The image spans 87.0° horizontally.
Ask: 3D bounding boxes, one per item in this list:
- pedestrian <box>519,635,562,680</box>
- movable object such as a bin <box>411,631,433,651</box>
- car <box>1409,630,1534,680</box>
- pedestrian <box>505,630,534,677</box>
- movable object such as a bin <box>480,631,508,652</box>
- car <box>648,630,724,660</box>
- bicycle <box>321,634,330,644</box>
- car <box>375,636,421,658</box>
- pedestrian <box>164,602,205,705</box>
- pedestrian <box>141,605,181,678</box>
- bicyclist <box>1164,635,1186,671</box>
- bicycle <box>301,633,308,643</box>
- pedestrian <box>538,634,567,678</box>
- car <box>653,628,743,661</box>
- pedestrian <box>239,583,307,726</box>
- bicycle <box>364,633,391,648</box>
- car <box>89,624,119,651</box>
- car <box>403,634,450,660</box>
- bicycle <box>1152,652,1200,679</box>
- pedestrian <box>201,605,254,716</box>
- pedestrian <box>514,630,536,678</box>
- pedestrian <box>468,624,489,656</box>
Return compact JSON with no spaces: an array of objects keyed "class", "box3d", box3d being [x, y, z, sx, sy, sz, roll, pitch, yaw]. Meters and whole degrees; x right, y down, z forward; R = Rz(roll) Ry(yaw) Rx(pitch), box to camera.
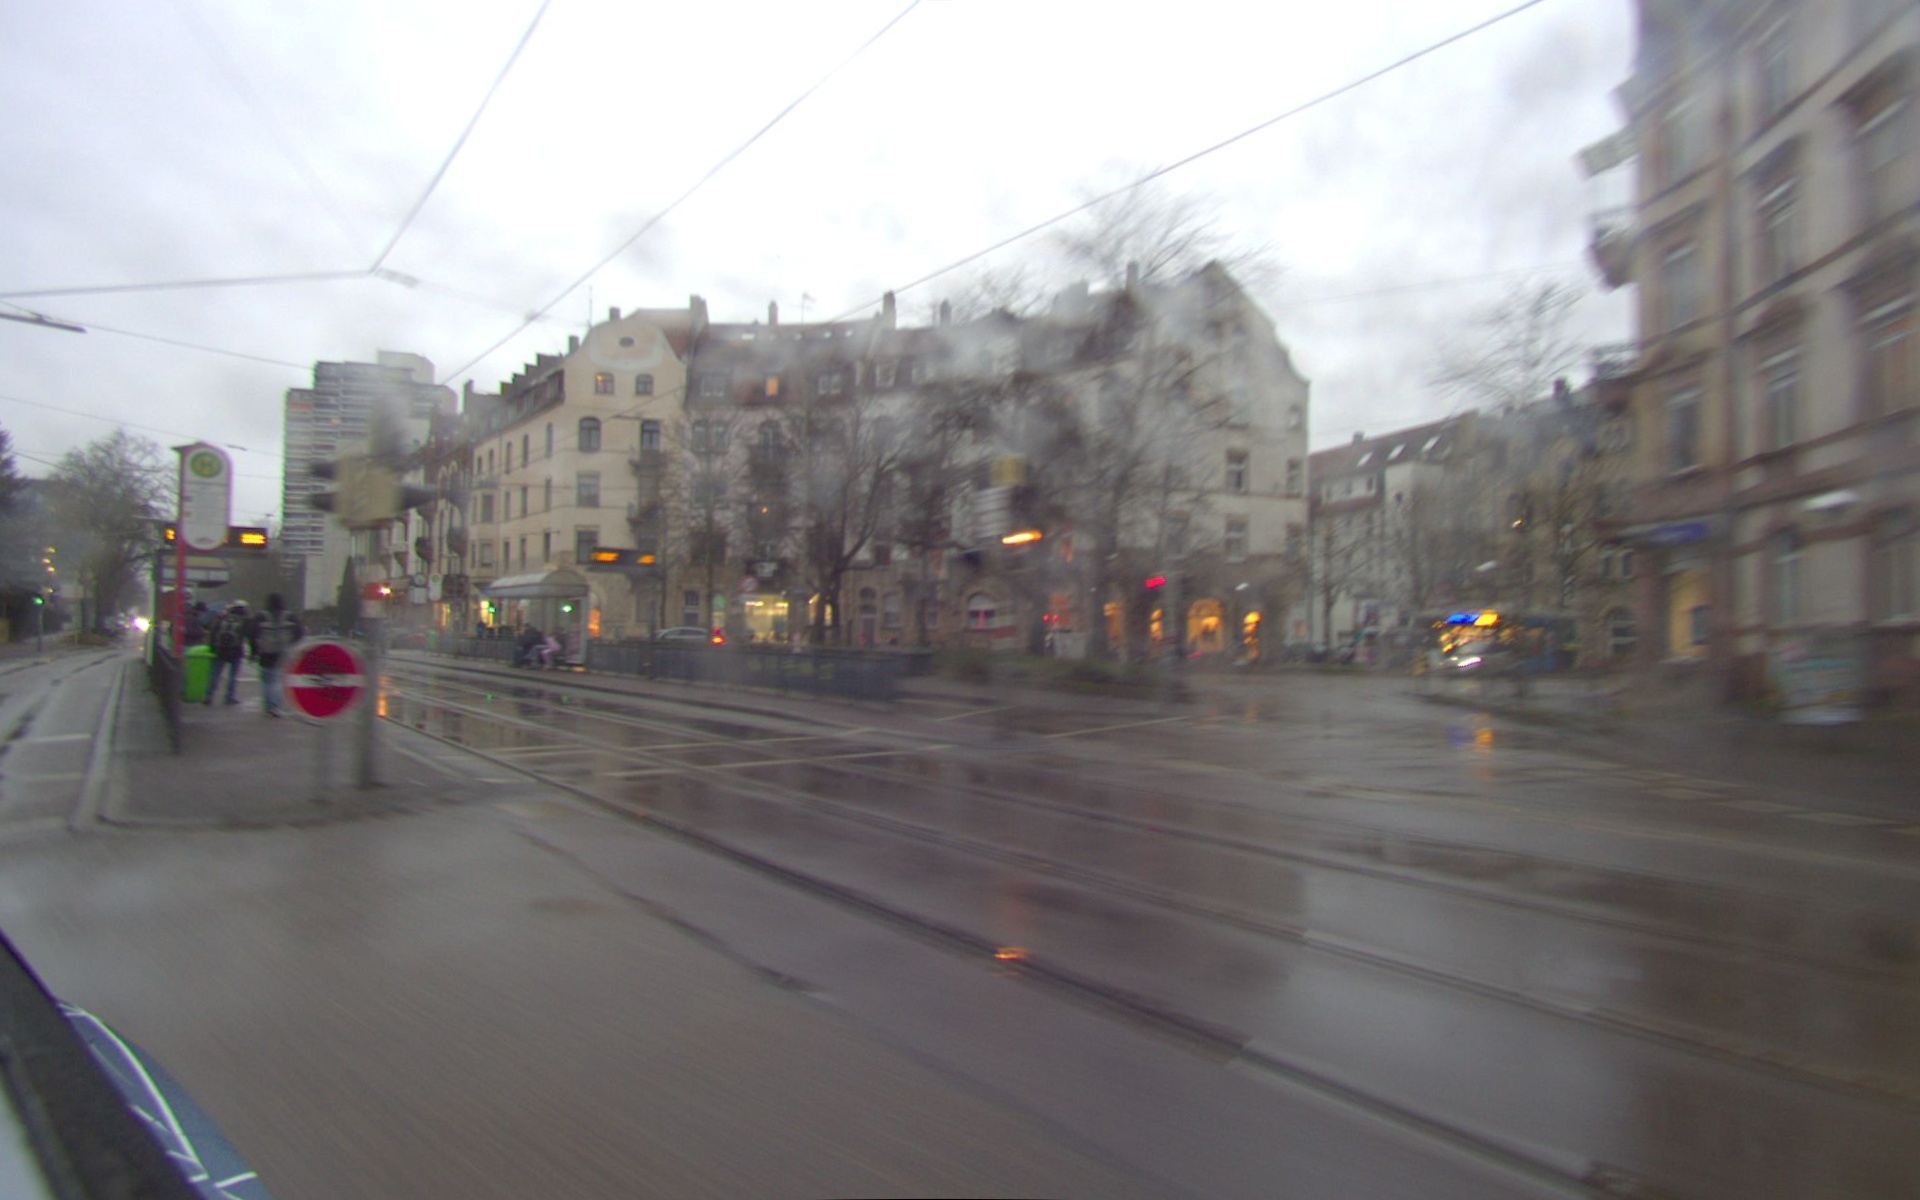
[{"class":"pedestrian","box3d":[-12.335,1.680,29.784,1.042,1.264,0.507,-1,-1,-40]},{"class":"movable object such as a bin","box3d":[-40.365,3.076,75.902,1.221,1.442,1.075,-1,-1,-41]},{"class":"car","box3d":[19.266,2.074,38.194,3.799,1.785,1.884,2,-3,-10]},{"class":"pedestrian","box3d":[-13.473,1.626,30.959,0.675,1.414,0.579,-1,-1,-40]},{"class":"movable object such as a bin","box3d":[-31.190,2.768,67.725,1.332,1.382,1.283,-1,-1,-41]},{"class":"car","box3d":[-14.875,2.448,55.066,3.768,1.483,1.615,-1,0,-4]},{"class":"bicycle","box3d":[-59.350,3.618,94.634,0.522,0.896,2.214,2,-2,-35]},{"class":"car","box3d":[-38.432,3.178,69.156,1.780,1.400,4.513,-1,-1,-43]},{"class":"pedestrian","box3d":[-14.072,0.950,18.365,0.550,1.821,0.572,-1,-1,-39]},{"class":"pedestrian","box3d":[-22.184,1.129,28.104,0.843,1.970,0.572,-1,-1,-39]},{"class":"bicyclist","box3d":[8.428,2.084,39.693,0.760,1.374,0.527,-1,-1,23]},{"class":"bicycle","box3d":[-68.668,4.011,105.951,0.428,1.014,1.885,2,-3,-38]},{"class":"pedestrian","box3d":[-11.829,1.622,29.400,0.644,1.227,0.518,-1,-1,-40]},{"class":"car","box3d":[-13.166,2.243,51.061,4.271,1.595,1.942,1,-2,-13]},{"class":"pedestrian","box3d":[-9.612,0.745,14.180,0.677,1.932,0.720,-1,-1,-28]},{"class":"bicycle","box3d":[-50.559,3.502,87.860,1.959,1.168,0.532,-1,-1,-40]},{"class":"car","box3d":[-65.241,2.814,77.116,1.700,1.960,4.515,-1,-1,-41]},{"class":"car","box3d":[-34.374,3.018,65.185,3.680,1.528,1.653,-2,-1,45]},{"class":"bicycle","box3d":[8.458,2.572,39.693,1.798,1.014,0.488,0,-2,22]},{"class":"pedestrian","box3d":[-11.765,0.952,16.251,0.649,1.721,0.572,-1,-1,-39]},{"class":"pedestrian","box3d":[-13.141,1.618,30.561,0.467,1.414,0.454,-1,-1,-40]},{"class":"pedestrian","box3d":[-28.735,2.382,60.410,0.786,1.892,0.895,-1,-1,-3]}]
